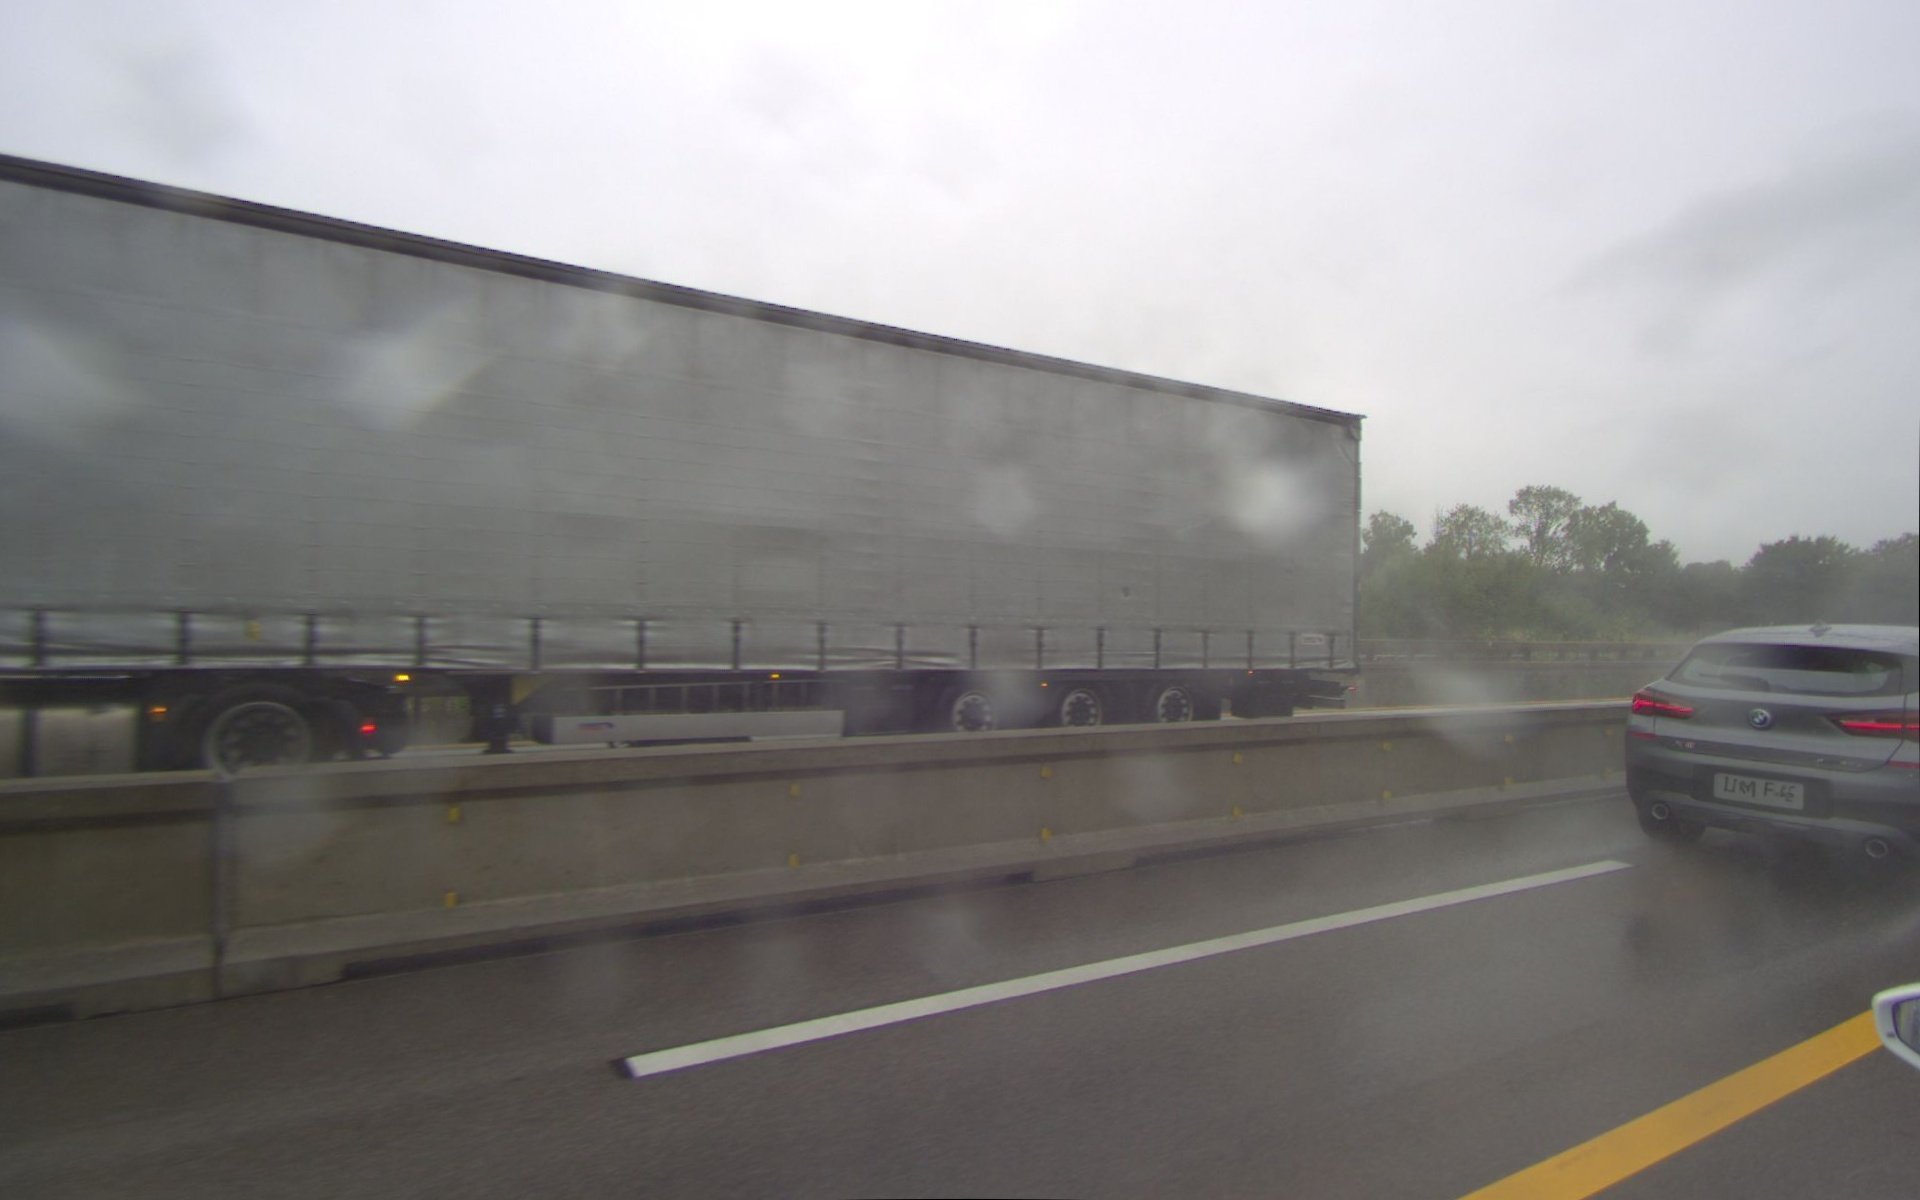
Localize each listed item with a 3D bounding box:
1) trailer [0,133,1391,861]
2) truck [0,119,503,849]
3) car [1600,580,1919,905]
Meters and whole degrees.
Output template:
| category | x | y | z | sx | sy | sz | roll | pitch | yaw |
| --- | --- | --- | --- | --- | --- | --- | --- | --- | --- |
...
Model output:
| category | x | y | z | sx | sy | sz | roll | pitch | yaw |
| --- | --- | --- | --- | --- | --- | --- | --- | --- | --- |
| trailer | -0.914 | -0.373 | 10.376 | 12.919 | 4.334 | 2.673 | 2 | -1 | -31 |
| truck | -6.942 | -0.714 | 6.799 | 6.671 | 4.334 | 2.695 | 2 | -1 | -30 |
| car | 6.523 | 0.789 | 6.837 | 4.789 | 1.619 | 1.692 | 2 | -1 | -31 |
